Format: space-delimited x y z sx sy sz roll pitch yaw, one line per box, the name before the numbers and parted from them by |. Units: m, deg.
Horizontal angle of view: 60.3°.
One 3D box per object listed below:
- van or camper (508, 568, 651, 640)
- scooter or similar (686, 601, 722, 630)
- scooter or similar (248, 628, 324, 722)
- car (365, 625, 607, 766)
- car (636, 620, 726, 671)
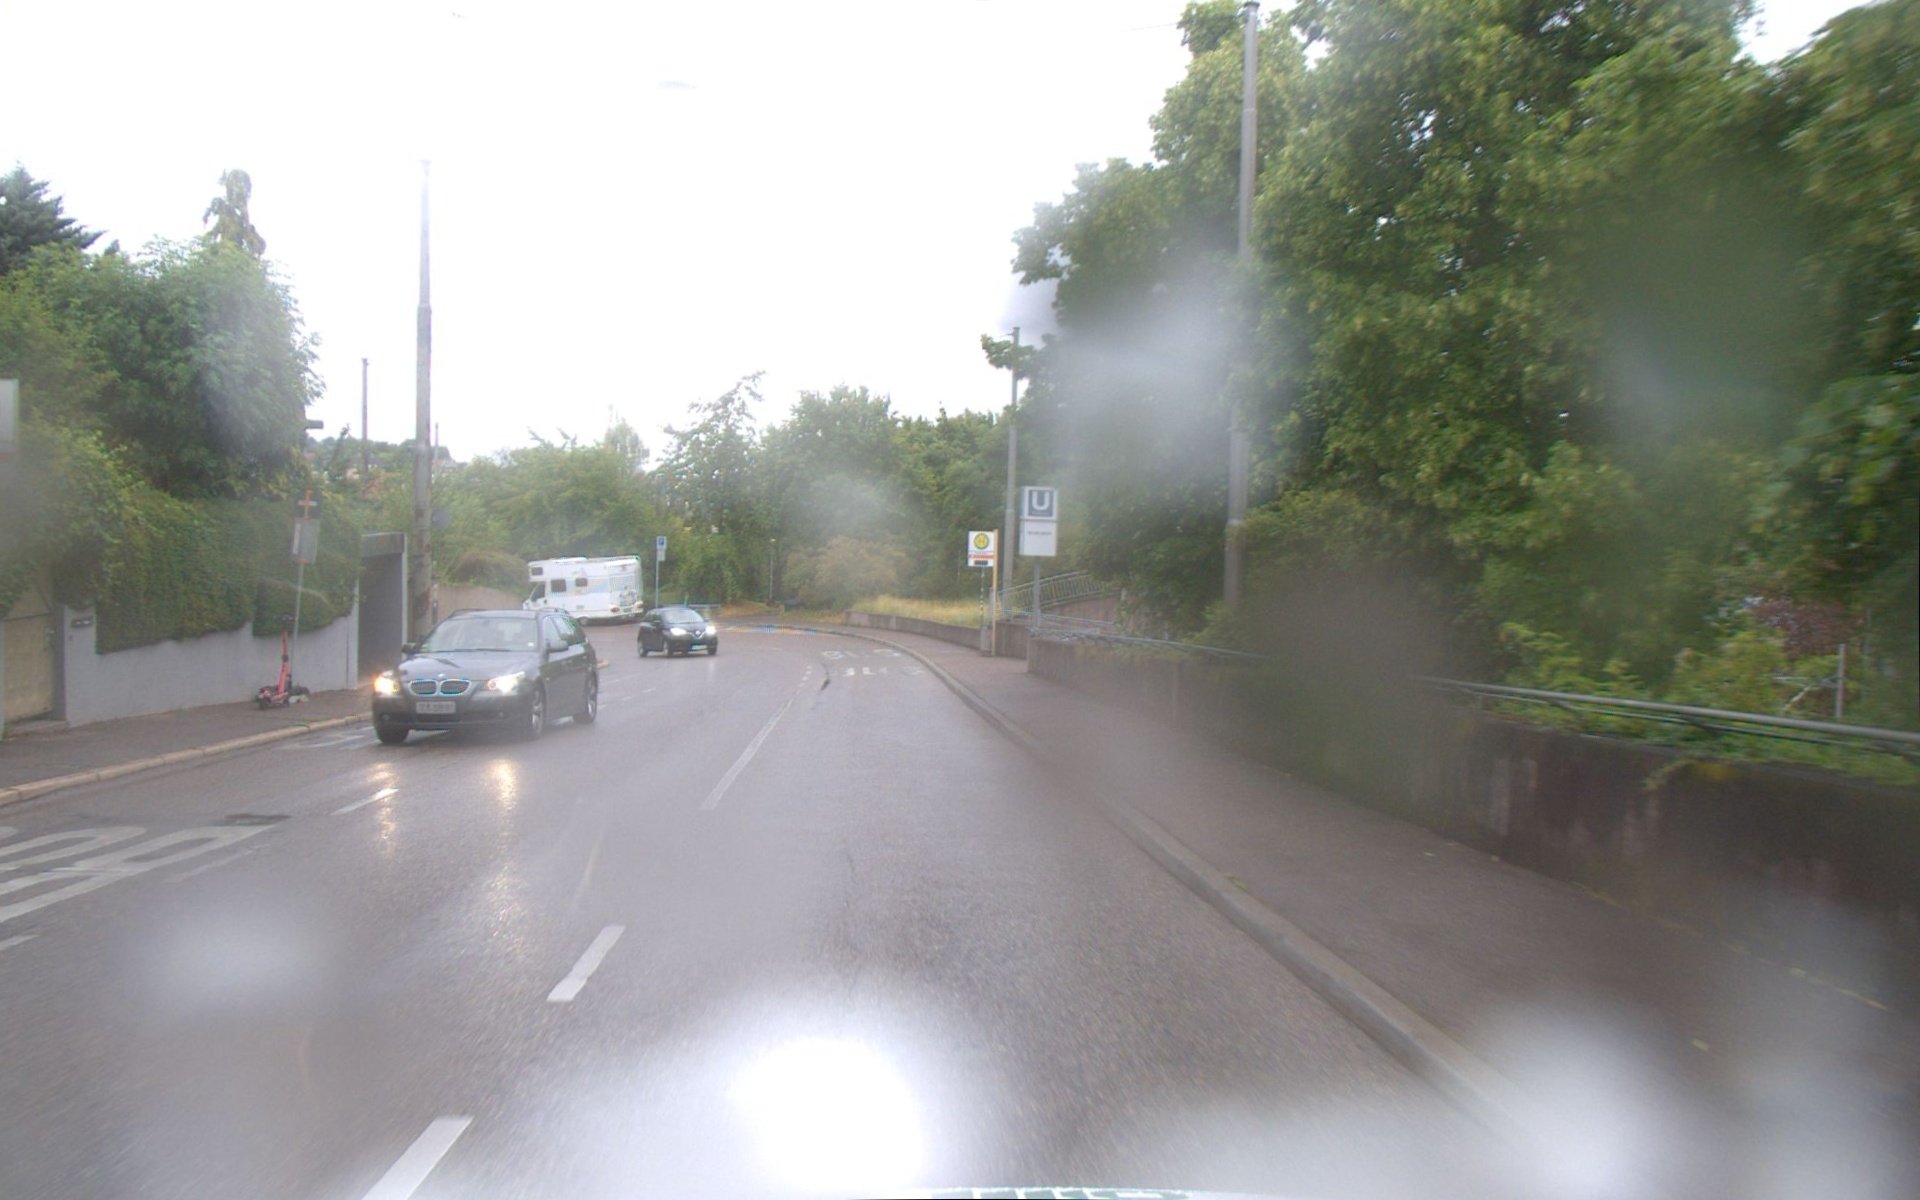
van or camper | -17.509 0.194 76.050 6.140 2.994 2.396 -1 5 28
scooter or similar | -11.783 0.713 76.142 1.671 1.304 0.451 -2 1 29
scooter or similar | -9.368 1.024 23.040 0.512 1.224 1.434 -1 0 -3
car | -5.581 1.056 20.069 1.702 1.476 4.613 -1 -1 -2
car | -9.157 1.456 54.018 1.748 1.547 3.938 -1 0 -28
